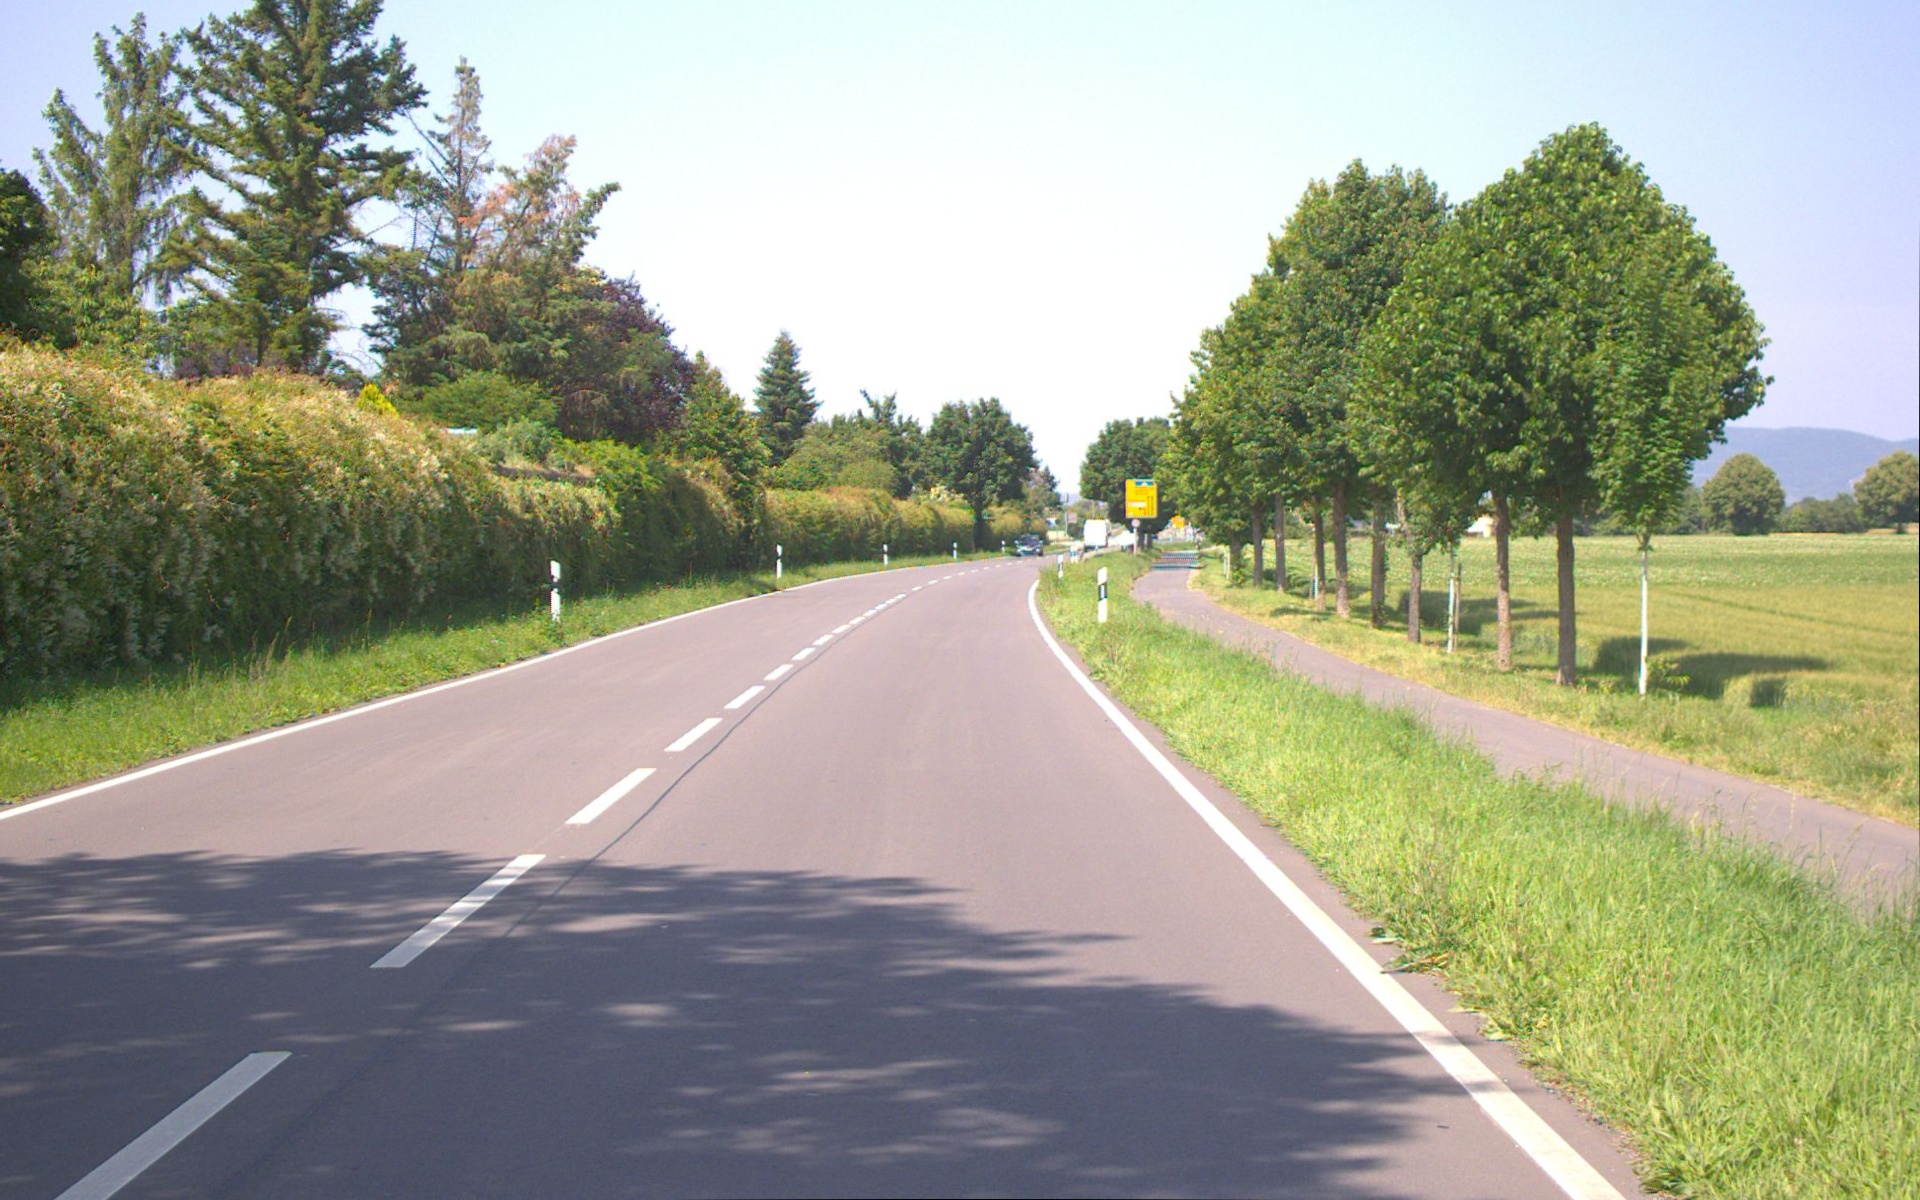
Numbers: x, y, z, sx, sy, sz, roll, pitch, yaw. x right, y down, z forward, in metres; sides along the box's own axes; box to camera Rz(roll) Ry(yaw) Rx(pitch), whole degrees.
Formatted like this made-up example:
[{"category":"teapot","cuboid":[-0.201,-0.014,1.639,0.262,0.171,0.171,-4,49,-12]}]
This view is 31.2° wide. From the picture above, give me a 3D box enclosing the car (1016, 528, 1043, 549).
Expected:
[{"category":"car","cuboid":[4.848,-4.306,239.518,1.840,1.462,3.933,0,1,1]}]
